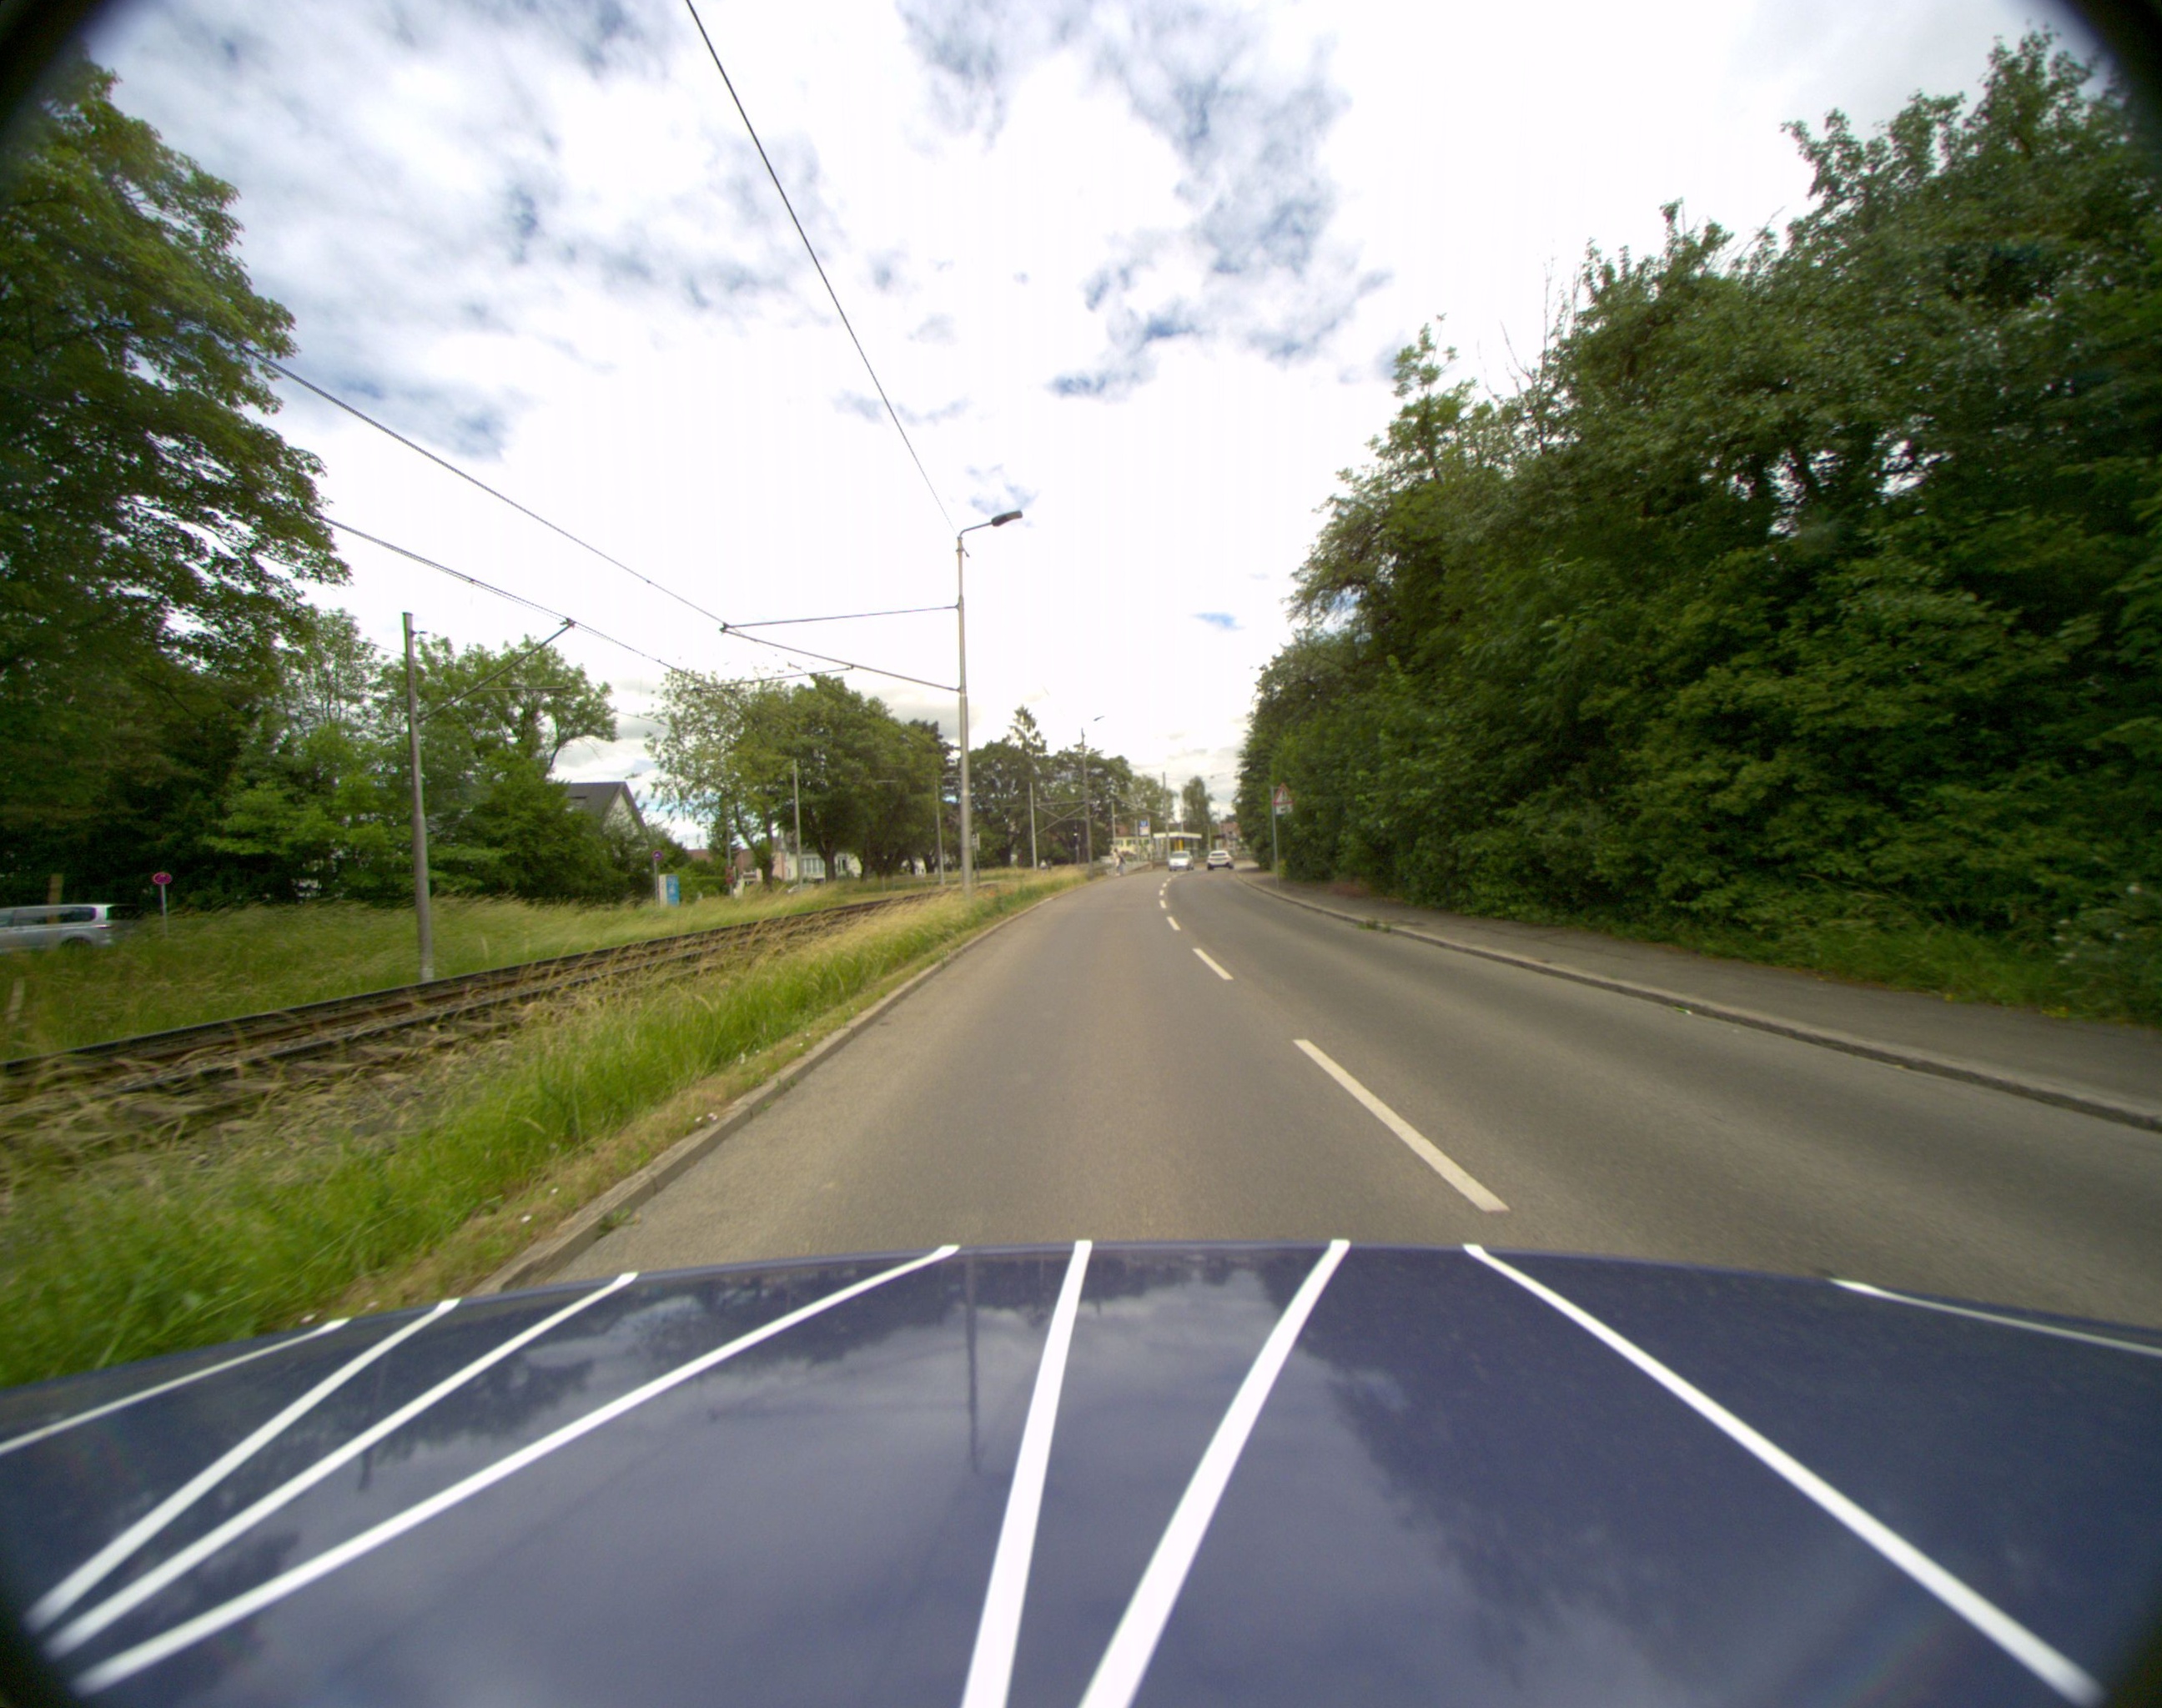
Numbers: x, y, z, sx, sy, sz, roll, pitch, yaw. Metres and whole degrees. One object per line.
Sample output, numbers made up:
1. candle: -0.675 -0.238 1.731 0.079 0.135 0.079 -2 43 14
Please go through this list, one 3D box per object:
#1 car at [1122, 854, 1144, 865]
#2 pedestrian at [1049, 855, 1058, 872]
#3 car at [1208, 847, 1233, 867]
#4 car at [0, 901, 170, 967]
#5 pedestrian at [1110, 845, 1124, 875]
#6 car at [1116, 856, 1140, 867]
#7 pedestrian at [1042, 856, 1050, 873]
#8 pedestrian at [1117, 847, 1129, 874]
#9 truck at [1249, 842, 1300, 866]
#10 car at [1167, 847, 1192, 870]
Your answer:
1. car: 9.938 1.051 145.115 1.995 1.851 4.243 -4 -1 41
2. pedestrian: -2.608 0.918 72.154 0.493 1.613 0.791 -4 0 16
3. car: 11.223 0.175 61.157 1.933 1.513 4.662 -1 1 10
4. car: -35.033 2.738 25.874 4.718 1.850 1.914 -3 0 -23
5. pedestrian: 2.360 0.386 49.298 0.660 1.830 0.596 -4 3 -10
6. car: 6.932 1.059 112.206 1.995 1.340 4.007 -4 -1 27
7. pedestrian: -3.338 1.003 72.193 0.493 1.552 0.693 -4 0 16
8. pedestrian: 2.786 0.413 50.485 0.475 1.719 0.799 -5 3 -11
9. truck: 17.942 0.006 70.363 4.967 1.954 1.849 -3 0 -39
10. car: 8.103 0.360 62.225 1.732 1.639 4.230 -4 -1 11
